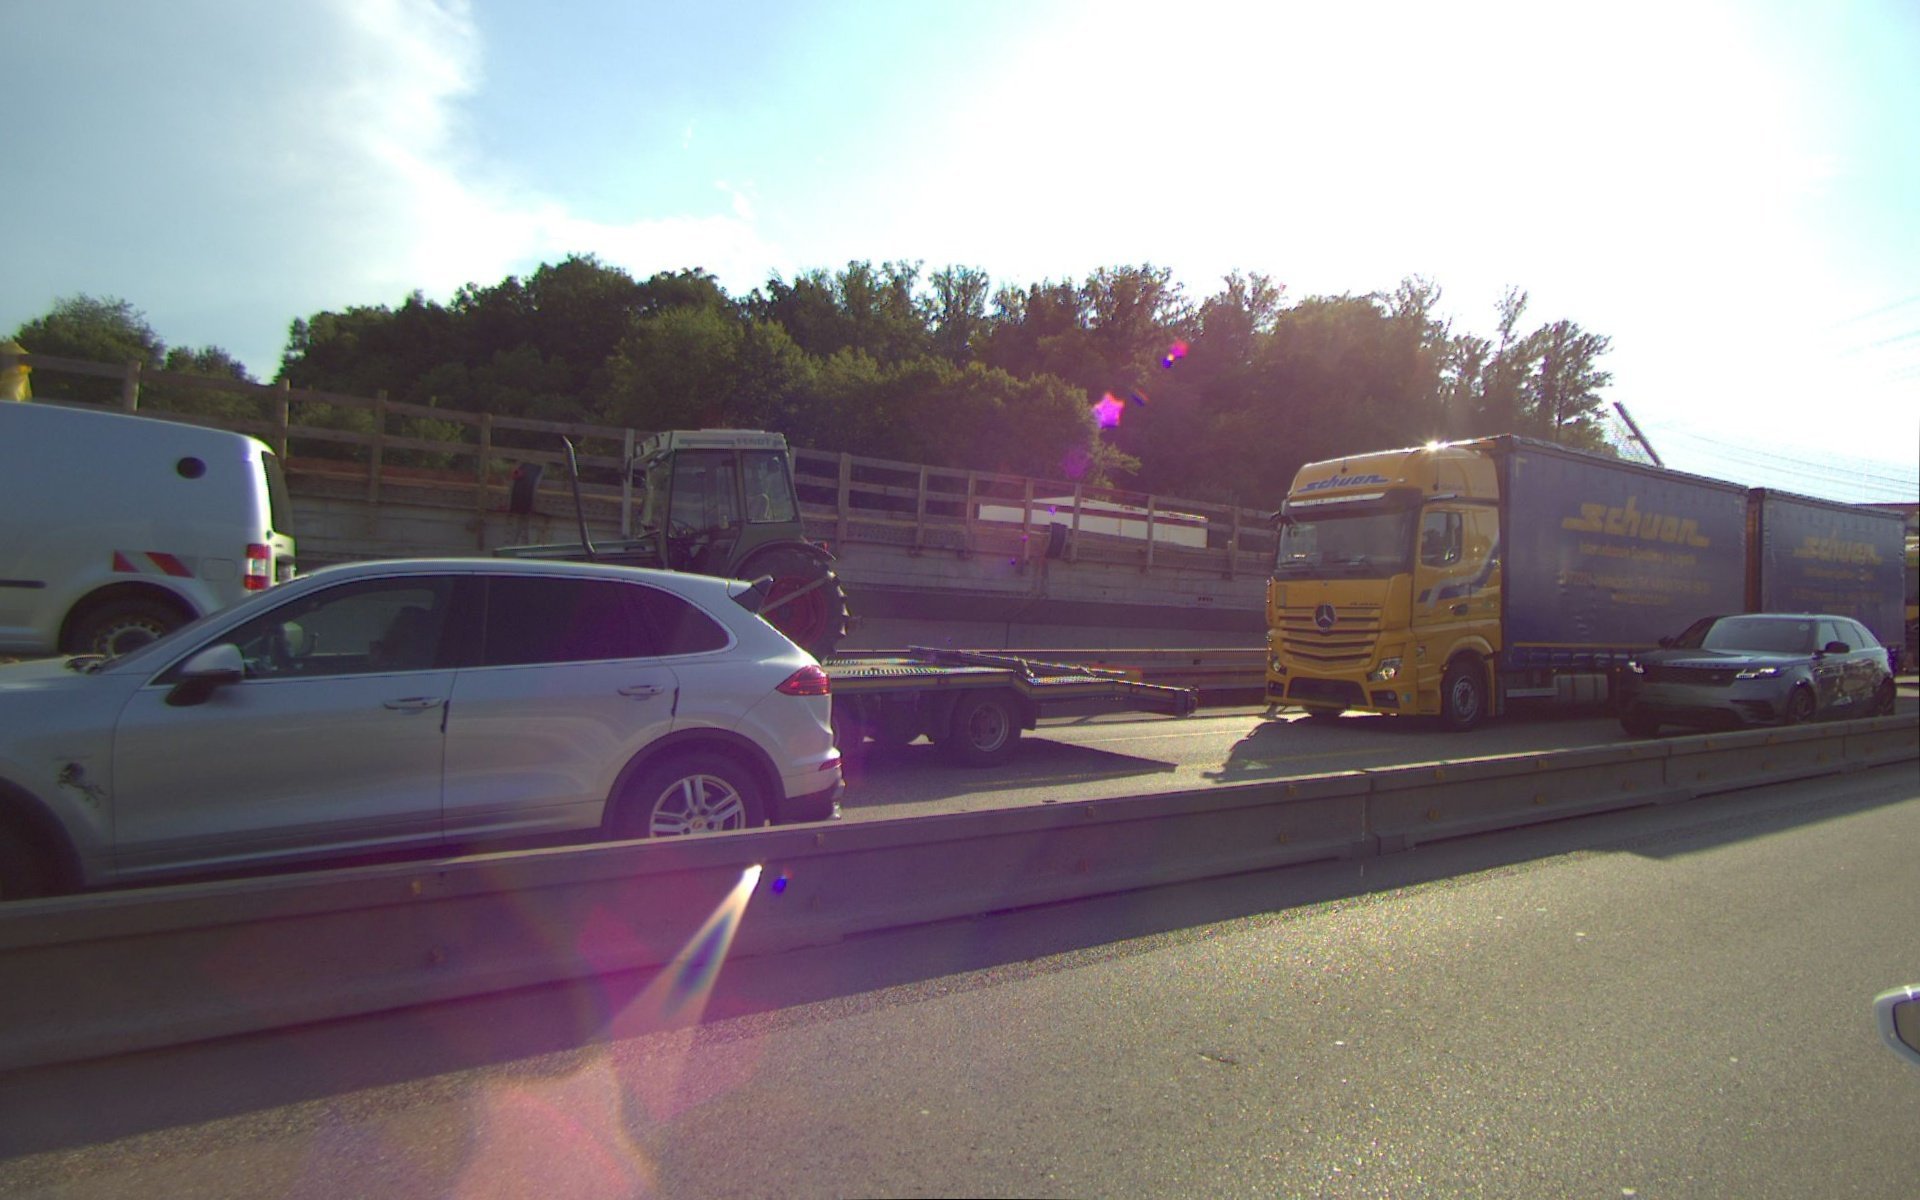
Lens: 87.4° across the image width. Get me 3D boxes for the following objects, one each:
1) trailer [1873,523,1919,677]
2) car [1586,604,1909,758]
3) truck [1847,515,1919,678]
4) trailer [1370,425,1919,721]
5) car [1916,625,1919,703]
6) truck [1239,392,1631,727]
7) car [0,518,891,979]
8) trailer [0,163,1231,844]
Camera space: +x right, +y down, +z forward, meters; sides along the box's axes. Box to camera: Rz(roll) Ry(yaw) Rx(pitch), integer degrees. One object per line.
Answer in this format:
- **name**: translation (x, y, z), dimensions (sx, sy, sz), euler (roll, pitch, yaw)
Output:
- **trailer**: translation (33.408, 0.291, 31.898), dimensions (15.828, 4.259, 2.685), euler (3, -2, -33)
- **car**: translation (10.541, 1.011, 13.361), dimensions (4.639, 1.724, 1.917), euler (3, -2, -32)
- **truck**: translation (26.830, -0.010, 27.565), dimensions (4.352, 4.252, 2.678), euler (2, -2, -33)
- **trailer**: translation (14.475, -0.058, 19.791), dimensions (16.567, 4.189, 2.700), euler (3, -2, -32)
- **car**: translation (21.063, 1.327, 20.033), dimensions (4.672, 1.517, 1.779), euler (3, -2, -32)
- **truck**: translation (7.286, -0.386, 15.220), dimensions (5.730, 4.195, 2.687), euler (2, -2, -32)
- **car**: translation (-2.933, 0.595, 5.118), dimensions (4.794, 1.666, 1.949), euler (3, -2, -32)
- **trailer**: translation (-4.631, -0.471, 7.773), dimensions (15.860, 3.866, 2.736), euler (2, -2, -31)
